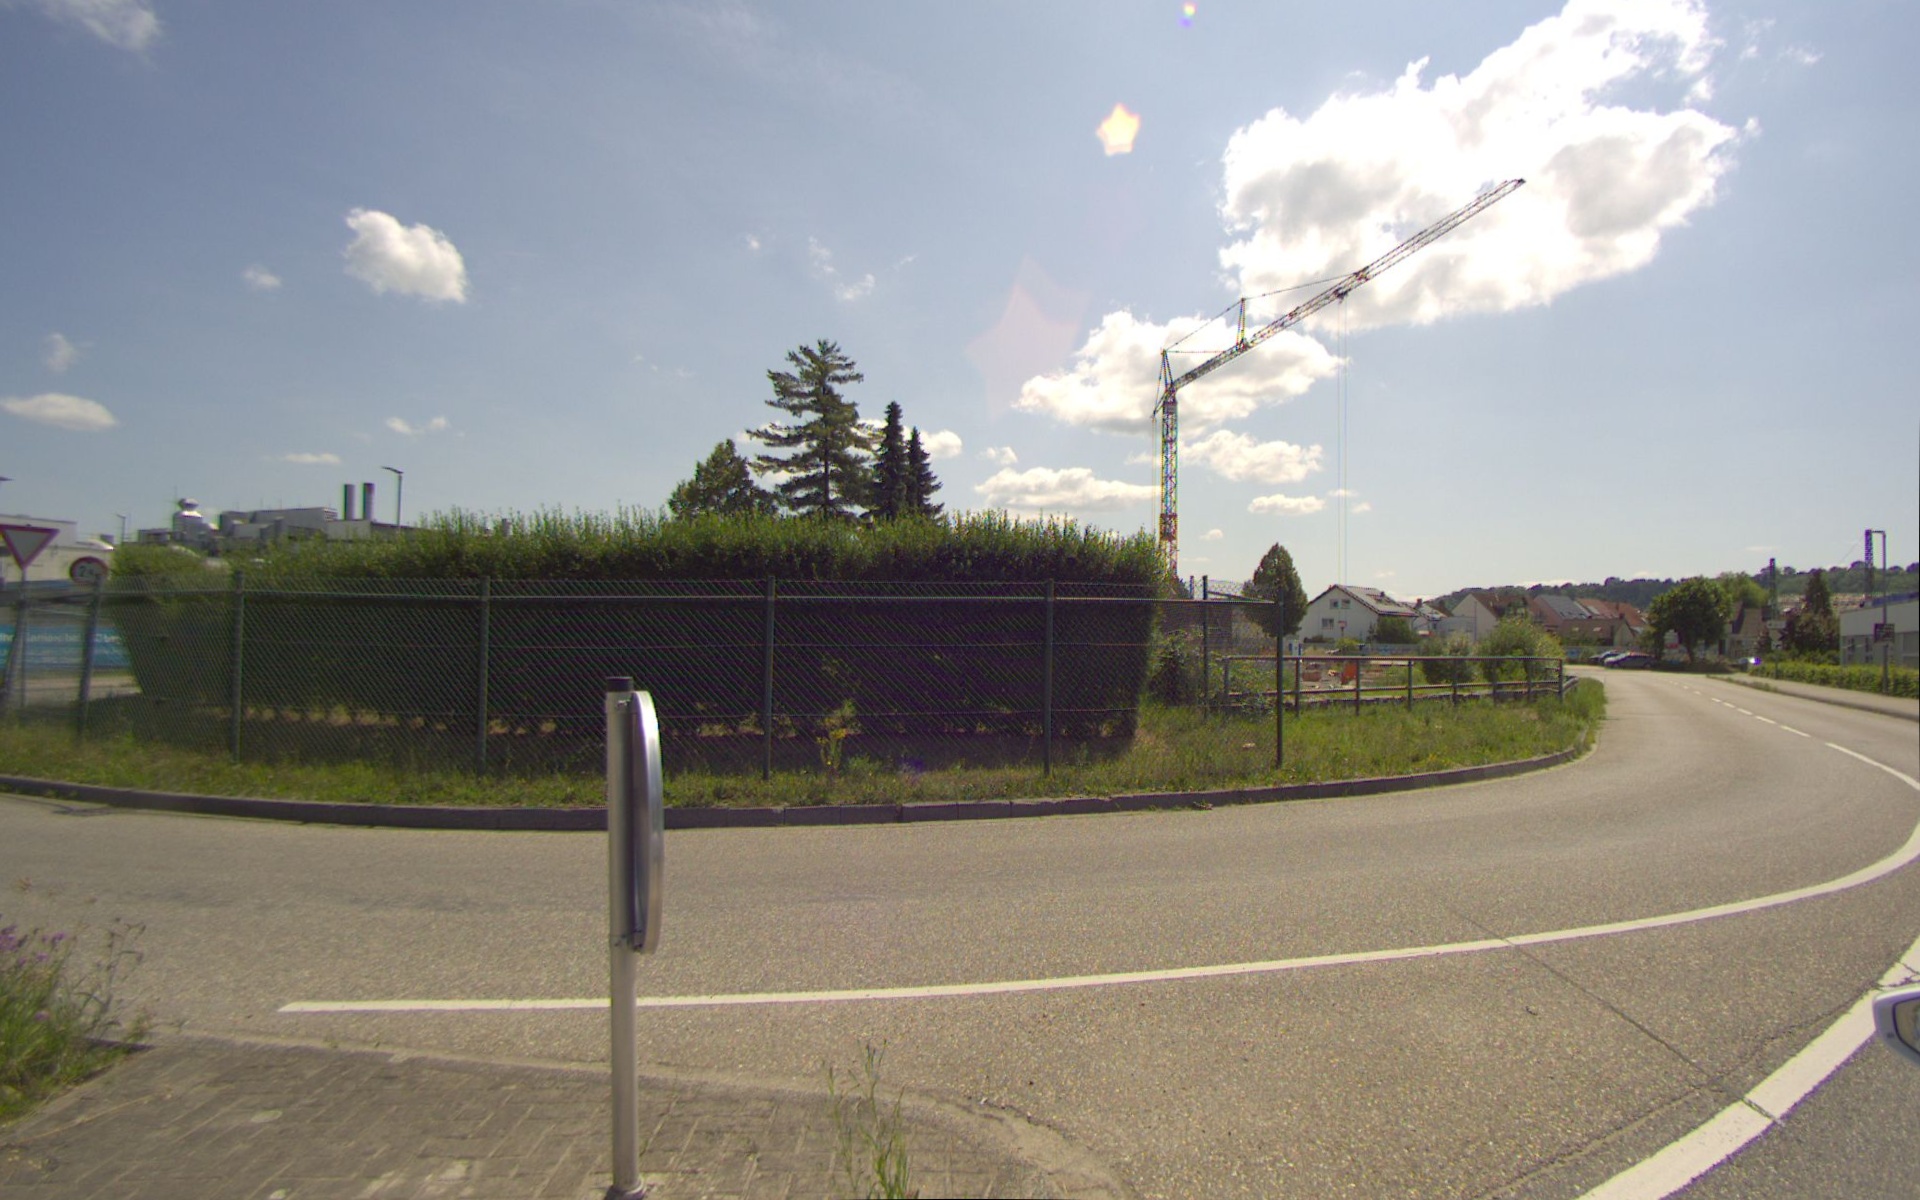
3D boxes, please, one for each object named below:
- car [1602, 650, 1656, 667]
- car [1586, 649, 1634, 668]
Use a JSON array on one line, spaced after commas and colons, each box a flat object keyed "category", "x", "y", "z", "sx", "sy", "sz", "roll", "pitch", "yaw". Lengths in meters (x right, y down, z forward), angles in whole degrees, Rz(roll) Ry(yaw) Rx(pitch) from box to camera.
[{"category": "car", "x": 65.813, "y": 5.708, "z": 98.853, "sx": 4.121, "sy": 1.482, "sz": 1.664, "roll": 1, "pitch": -2, "yaw": 25}, {"category": "car", "x": 68.097, "y": 6.160, "z": 105.332, "sx": 3.923, "sy": 1.753, "sz": 1.770, "roll": 3, "pitch": -2, "yaw": 24}]
